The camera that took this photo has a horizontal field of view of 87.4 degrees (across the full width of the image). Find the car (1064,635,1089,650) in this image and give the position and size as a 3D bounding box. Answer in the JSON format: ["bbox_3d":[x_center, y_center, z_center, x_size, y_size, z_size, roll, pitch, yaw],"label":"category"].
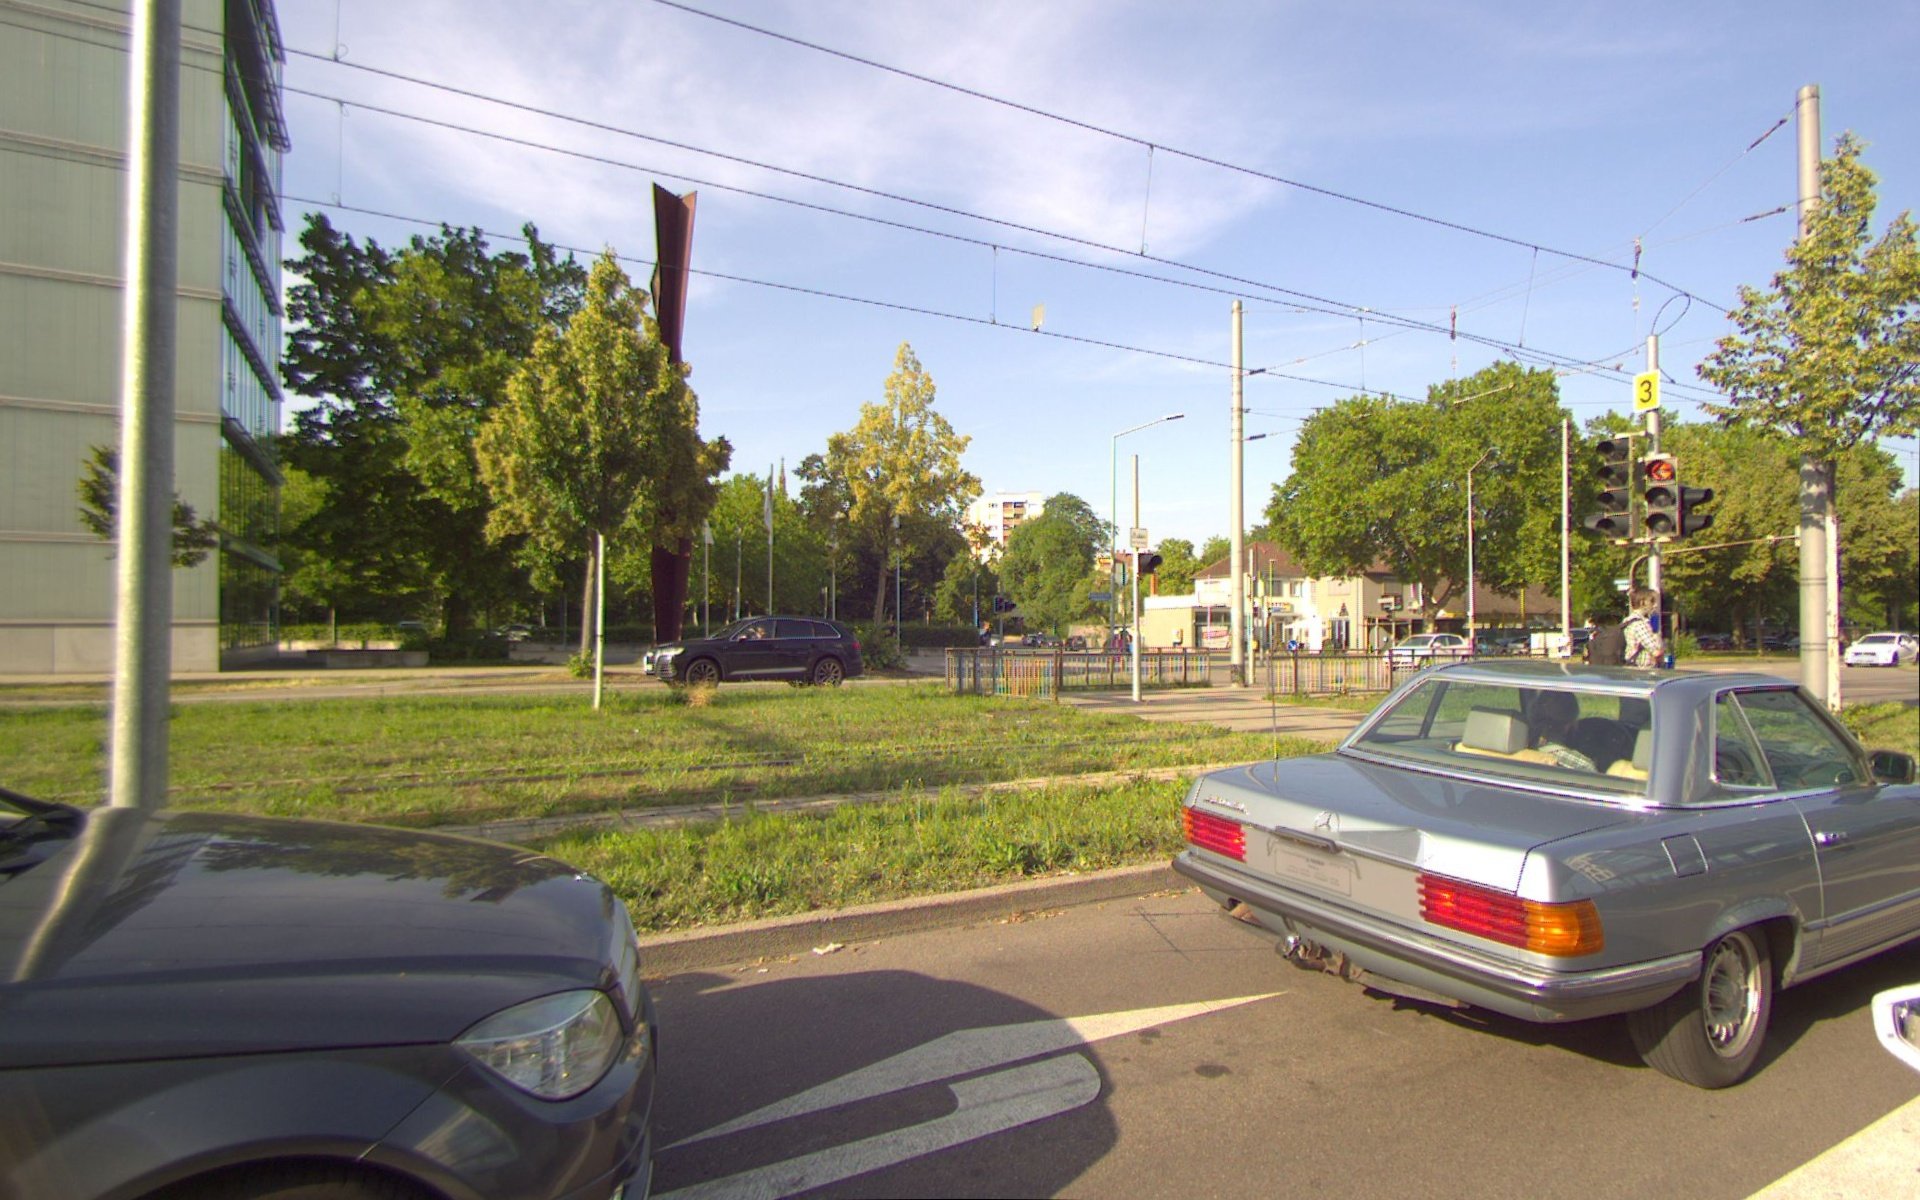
[{"bbox_3d":[11.876,4.300,102.470,1.667,1.491,3.941,0,-2,-7],"label":"car"}]

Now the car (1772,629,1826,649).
[{"bbox_3d":[68.216,3.169,81.647,3.945,1.580,1.876,1,-2,-24],"label":"car"}]

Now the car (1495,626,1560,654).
[{"bbox_3d":[37.900,2.672,67.085,3.945,1.773,1.876,1,-2,-24],"label":"car"}]

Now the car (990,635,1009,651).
[{"bbox_3d":[4.533,4.962,115.999,1.961,1.806,4.000,0,-2,-1],"label":"car"}]

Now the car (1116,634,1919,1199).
[{"bbox_3d":[2.935,0.881,4.379,4.348,1.348,1.755,1,1,-31],"label":"car"}]

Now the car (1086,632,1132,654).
[{"bbox_3d":[12.064,3.451,81.392,1.971,1.750,3.980,1,-2,-22],"label":"car"}]

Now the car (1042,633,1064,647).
[{"bbox_3d":[10.519,4.523,113.999,1.667,1.491,3.941,0,-2,-7],"label":"car"}]

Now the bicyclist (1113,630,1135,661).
[{"bbox_3d":[8.156,2.237,49.916,0.837,1.512,0.697,-1,-2,39],"label":"bicyclist"}]

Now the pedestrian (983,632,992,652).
[{"bbox_3d":[2.215,3.407,81.256,0.654,1.654,0.664,0,-1,-1],"label":"pedestrian"}]

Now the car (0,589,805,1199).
[{"bbox_3d":[-2.582,0.726,1.559,4.299,1.498,1.779,1,1,-29],"label":"car"}]

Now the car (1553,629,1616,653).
[{"bbox_3d":[43.312,2.825,69.643,3.945,1.580,1.876,1,-2,-24],"label":"car"}]

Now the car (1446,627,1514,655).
[{"bbox_3d":[33.655,2.628,65.054,3.945,1.773,1.876,1,-2,-24],"label":"car"}]

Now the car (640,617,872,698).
[{"bbox_3d":[-4.678,1.249,23.300,4.937,1.707,1.984,1,-1,-31],"label":"car"}]

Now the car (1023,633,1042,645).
[{"bbox_3d":[9.016,4.862,125.634,1.667,1.491,3.941,0,-2,-7],"label":"car"}]

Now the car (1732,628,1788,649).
[{"bbox_3d":[63.209,3.030,79.342,3.945,1.580,1.876,1,-2,-24],"label":"car"}]

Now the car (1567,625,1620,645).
[{"bbox_3d":[52.501,2.900,83.300,3.945,1.580,1.876,1,-2,-24],"label":"car"}]

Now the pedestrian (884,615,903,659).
[{"bbox_3d":[-3.299,1.840,49.777,0.864,2.135,0.724,-1,-3,0],"label":"pedestrian"}]

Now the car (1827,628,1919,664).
[{"bbox_3d":[41.001,2.053,44.946,4.042,1.523,1.986,1,-3,-28],"label":"car"}]

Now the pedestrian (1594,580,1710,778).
[{"bbox_3d":[6.656,0.730,9.679,0.627,1.816,0.696,1,0,-29],"label":"pedestrian"}]

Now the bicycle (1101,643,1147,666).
[{"bbox_3d":[8.141,2.701,49.914,2.168,1.055,0.697,-1,-2,39],"label":"bicycle"}]

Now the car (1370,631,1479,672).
[{"bbox_3d":[18.528,2.013,40.071,4.172,1.548,1.869,1,-1,-29],"label":"car"}]
